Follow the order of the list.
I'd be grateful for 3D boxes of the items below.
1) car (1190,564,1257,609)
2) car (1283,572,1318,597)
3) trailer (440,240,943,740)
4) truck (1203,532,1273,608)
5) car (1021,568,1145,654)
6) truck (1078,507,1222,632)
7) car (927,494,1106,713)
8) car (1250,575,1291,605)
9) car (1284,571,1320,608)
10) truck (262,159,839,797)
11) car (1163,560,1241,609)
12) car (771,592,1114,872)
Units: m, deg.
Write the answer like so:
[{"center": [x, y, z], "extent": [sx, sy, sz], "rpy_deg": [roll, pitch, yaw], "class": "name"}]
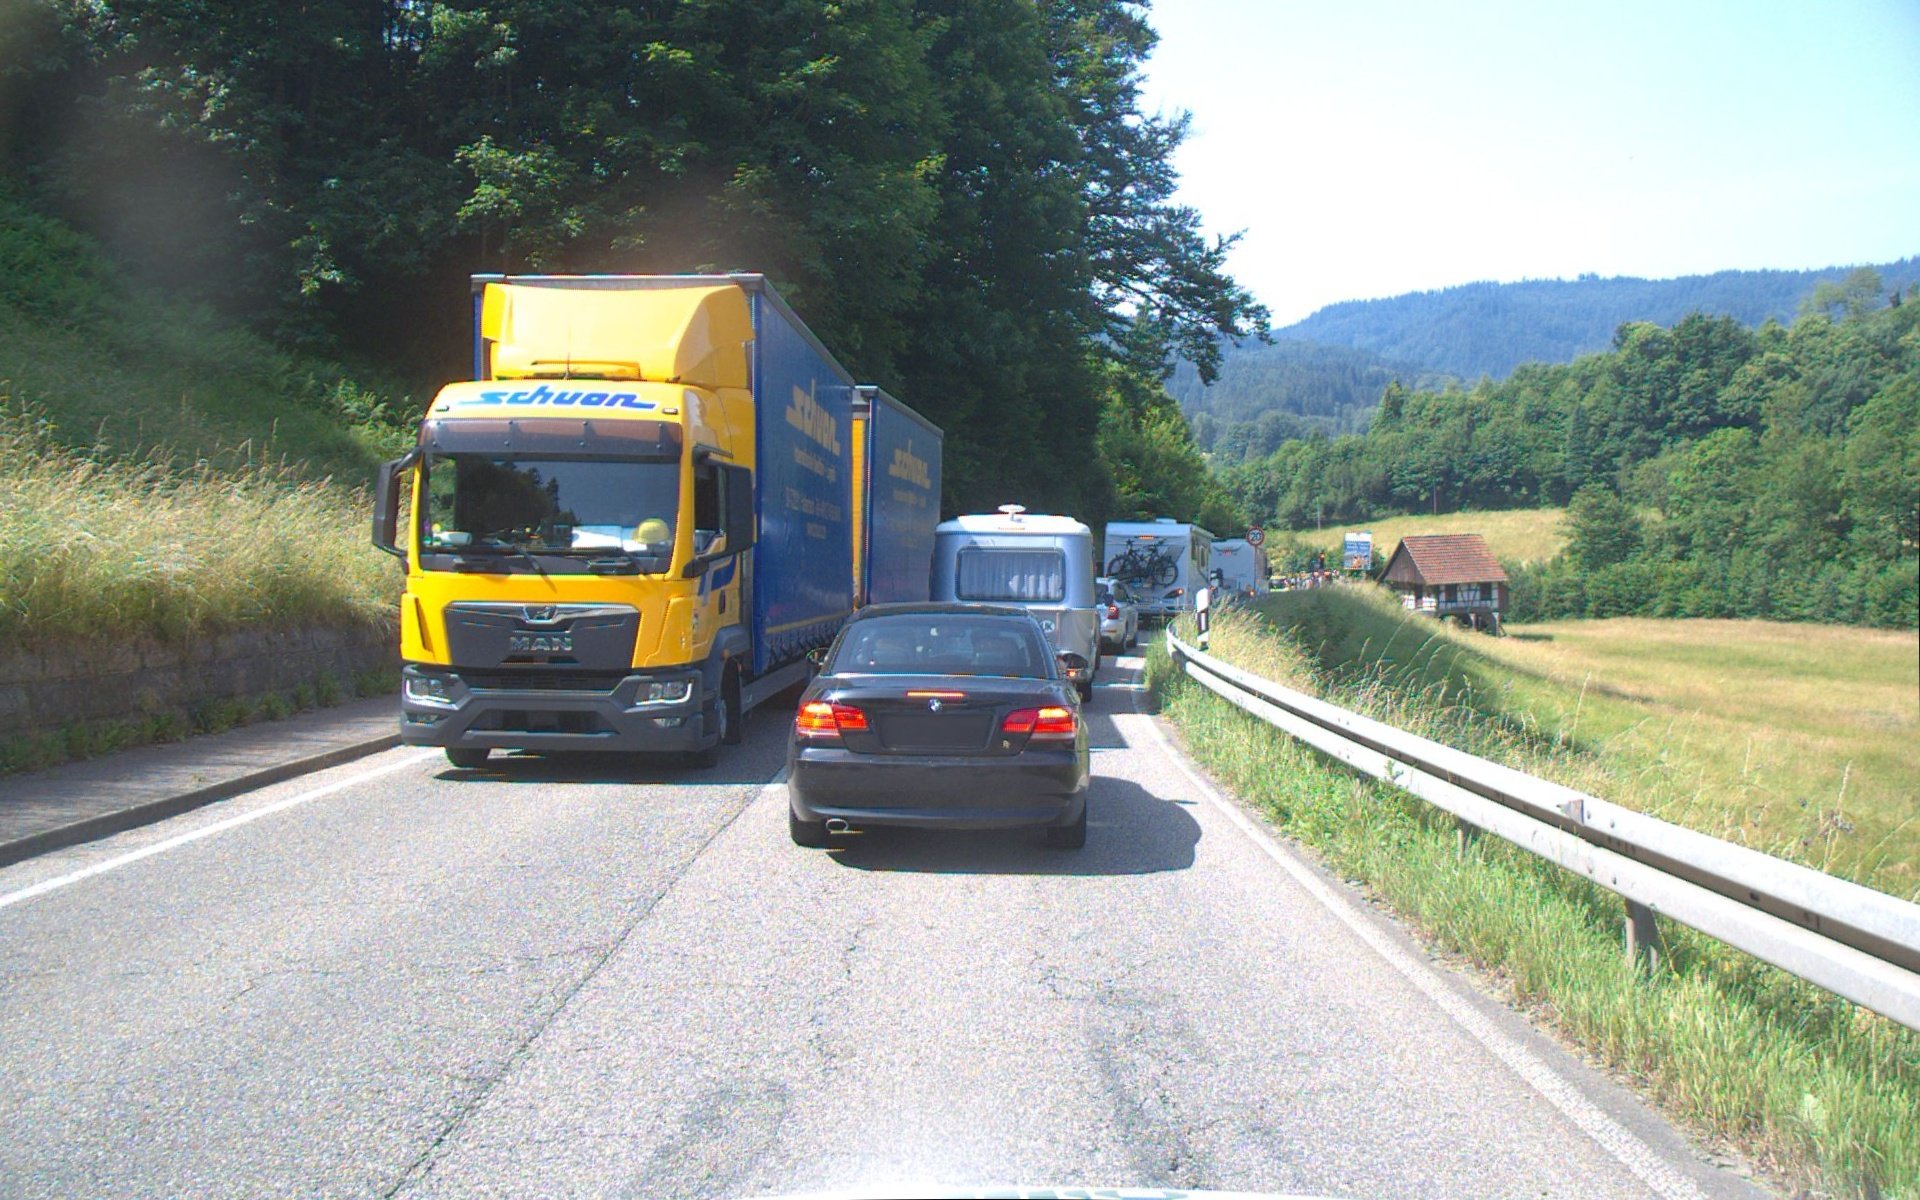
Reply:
[{"center": [9.687, -0.530, 60.634], "extent": [1.750, 1.489, 4.002], "rpy_deg": [3, 2, 18], "class": "car"}, {"center": [23.897, -1.063, 116.026], "extent": [1.952, 1.603, 4.002], "rpy_deg": [2, 0, 17], "class": "car"}, {"center": [-2.548, -1.204, 22.733], "extent": [3.191, 4.494, 15.326], "rpy_deg": [1, 1, 5], "class": "trailer"}, {"center": [11.327, -1.150, 66.975], "extent": [2.190, 2.853, 6.236], "rpy_deg": [2, 0, 14], "class": "truck"}, {"center": [2.520, 0.177, 33.050], "extent": [1.951, 1.510, 4.004], "rpy_deg": [3, 1, 11], "class": "car"}, {"center": [5.344, -0.855, 45.416], "extent": [2.732, 3.049, 6.873], "rpy_deg": [3, 2, 16], "class": "truck"}, {"center": [0.818, -0.018, 20.849], "extent": [1.951, 2.394, 4.917], "rpy_deg": [1, 1, 4], "class": "car"}, {"center": [16.744, -0.513, 89.127], "extent": [1.866, 1.512, 4.003], "rpy_deg": [2, 0, 14], "class": "car"}, {"center": [20.453, -0.610, 98.784], "extent": [1.951, 1.959, 4.003], "rpy_deg": [4, 0, 12], "class": "car"}, {"center": [-3.194, -0.983, 15.088], "extent": [3.121, 4.473, 6.576], "rpy_deg": [2, 2, 4], "class": "truck"}, {"center": [8.101, -0.540, 55.079], "extent": [1.952, 1.489, 4.003], "rpy_deg": [3, 2, 17], "class": "car"}, {"center": [-0.016, 0.666, 10.349], "extent": [1.734, 1.359, 3.768], "rpy_deg": [1, 1, 2], "class": "car"}]
